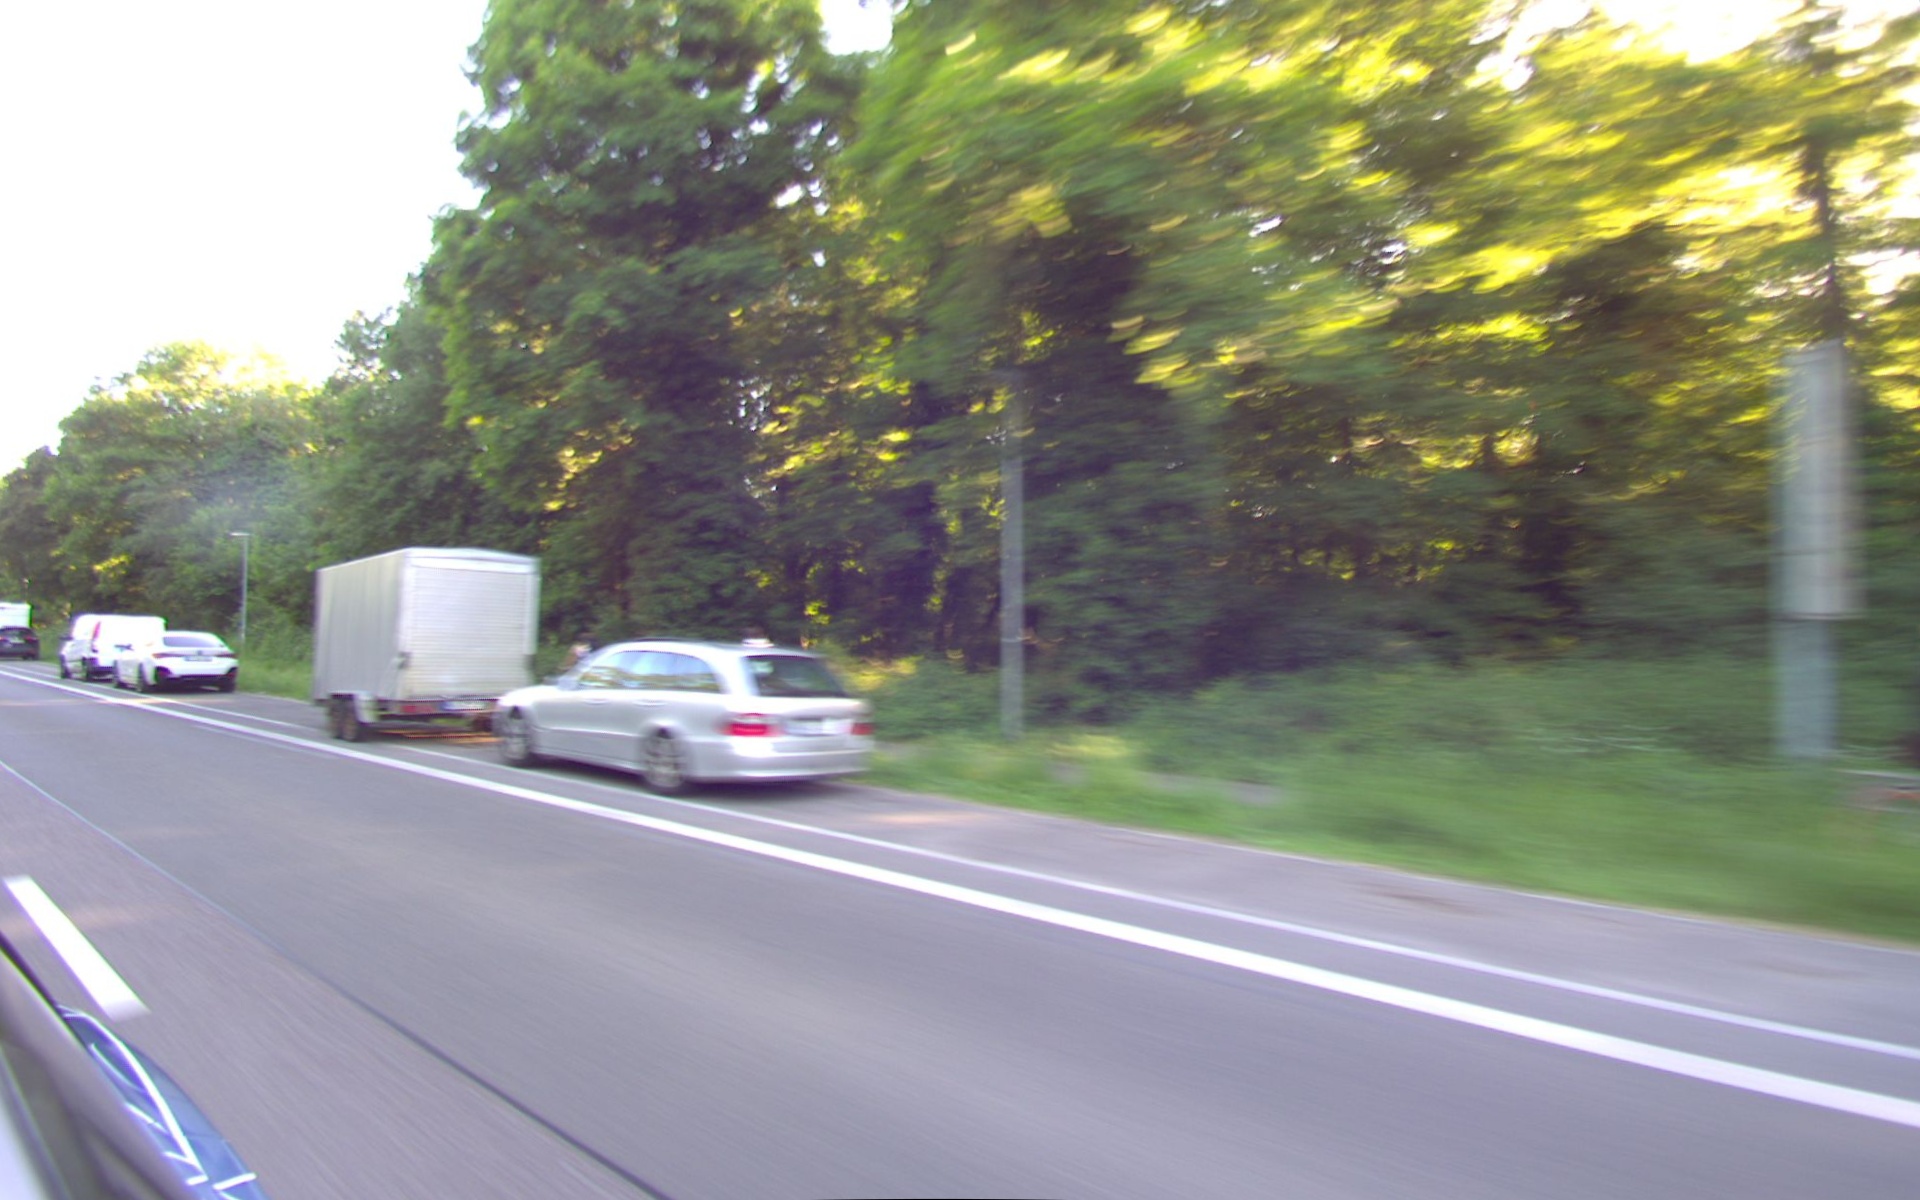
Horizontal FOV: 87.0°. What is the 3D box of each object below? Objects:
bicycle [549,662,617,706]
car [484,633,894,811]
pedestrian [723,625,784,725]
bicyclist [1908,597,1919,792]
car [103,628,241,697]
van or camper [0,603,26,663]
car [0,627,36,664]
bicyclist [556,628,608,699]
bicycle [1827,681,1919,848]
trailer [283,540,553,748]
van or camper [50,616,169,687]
[{"bbox_3d":[-6.823,1.506,18.286,1.486,0.718,0.516,-2,-2,41],"label":"bicycle"},{"bbox_3d":[-2.981,1.102,10.553,4.621,1.465,1.779,-1,-4,40],"label":"car"},{"bbox_3d":[-3.387,1.202,16.607,0.700,1.579,0.706,-2,-2,41],"label":"pedestrian"},{"bbox_3d":[6.601,0.591,6.254,1.023,1.231,0.691,-2,-2,41],"label":"bicyclist"},{"bbox_3d":[-19.498,1.503,24.975,4.521,1.552,1.756,-1,-4,41],"label":"car"},{"bbox_3d":[-50.805,1.679,52.479,7.102,2.993,2.292,-1,-4,39],"label":"van or camper"},{"bbox_3d":[-44.180,2.081,46.773,4.271,1.644,1.629,-2,-4,41],"label":"car"},{"bbox_3d":[-6.835,1.129,18.291,0.973,1.244,0.482,-2,-2,41],"label":"bicyclist"},{"bbox_3d":[6.740,1.040,6.097,2.282,0.994,0.689,-2,-2,41],"label":"bicycle"},{"bbox_3d":[-8.076,0.647,14.923,4.413,2.617,1.973,-2,-4,41],"label":"trailer"},{"bbox_3d":[-24.926,1.479,29.588,4.852,1.926,1.817,-1,-3,40],"label":"van or camper"}]
